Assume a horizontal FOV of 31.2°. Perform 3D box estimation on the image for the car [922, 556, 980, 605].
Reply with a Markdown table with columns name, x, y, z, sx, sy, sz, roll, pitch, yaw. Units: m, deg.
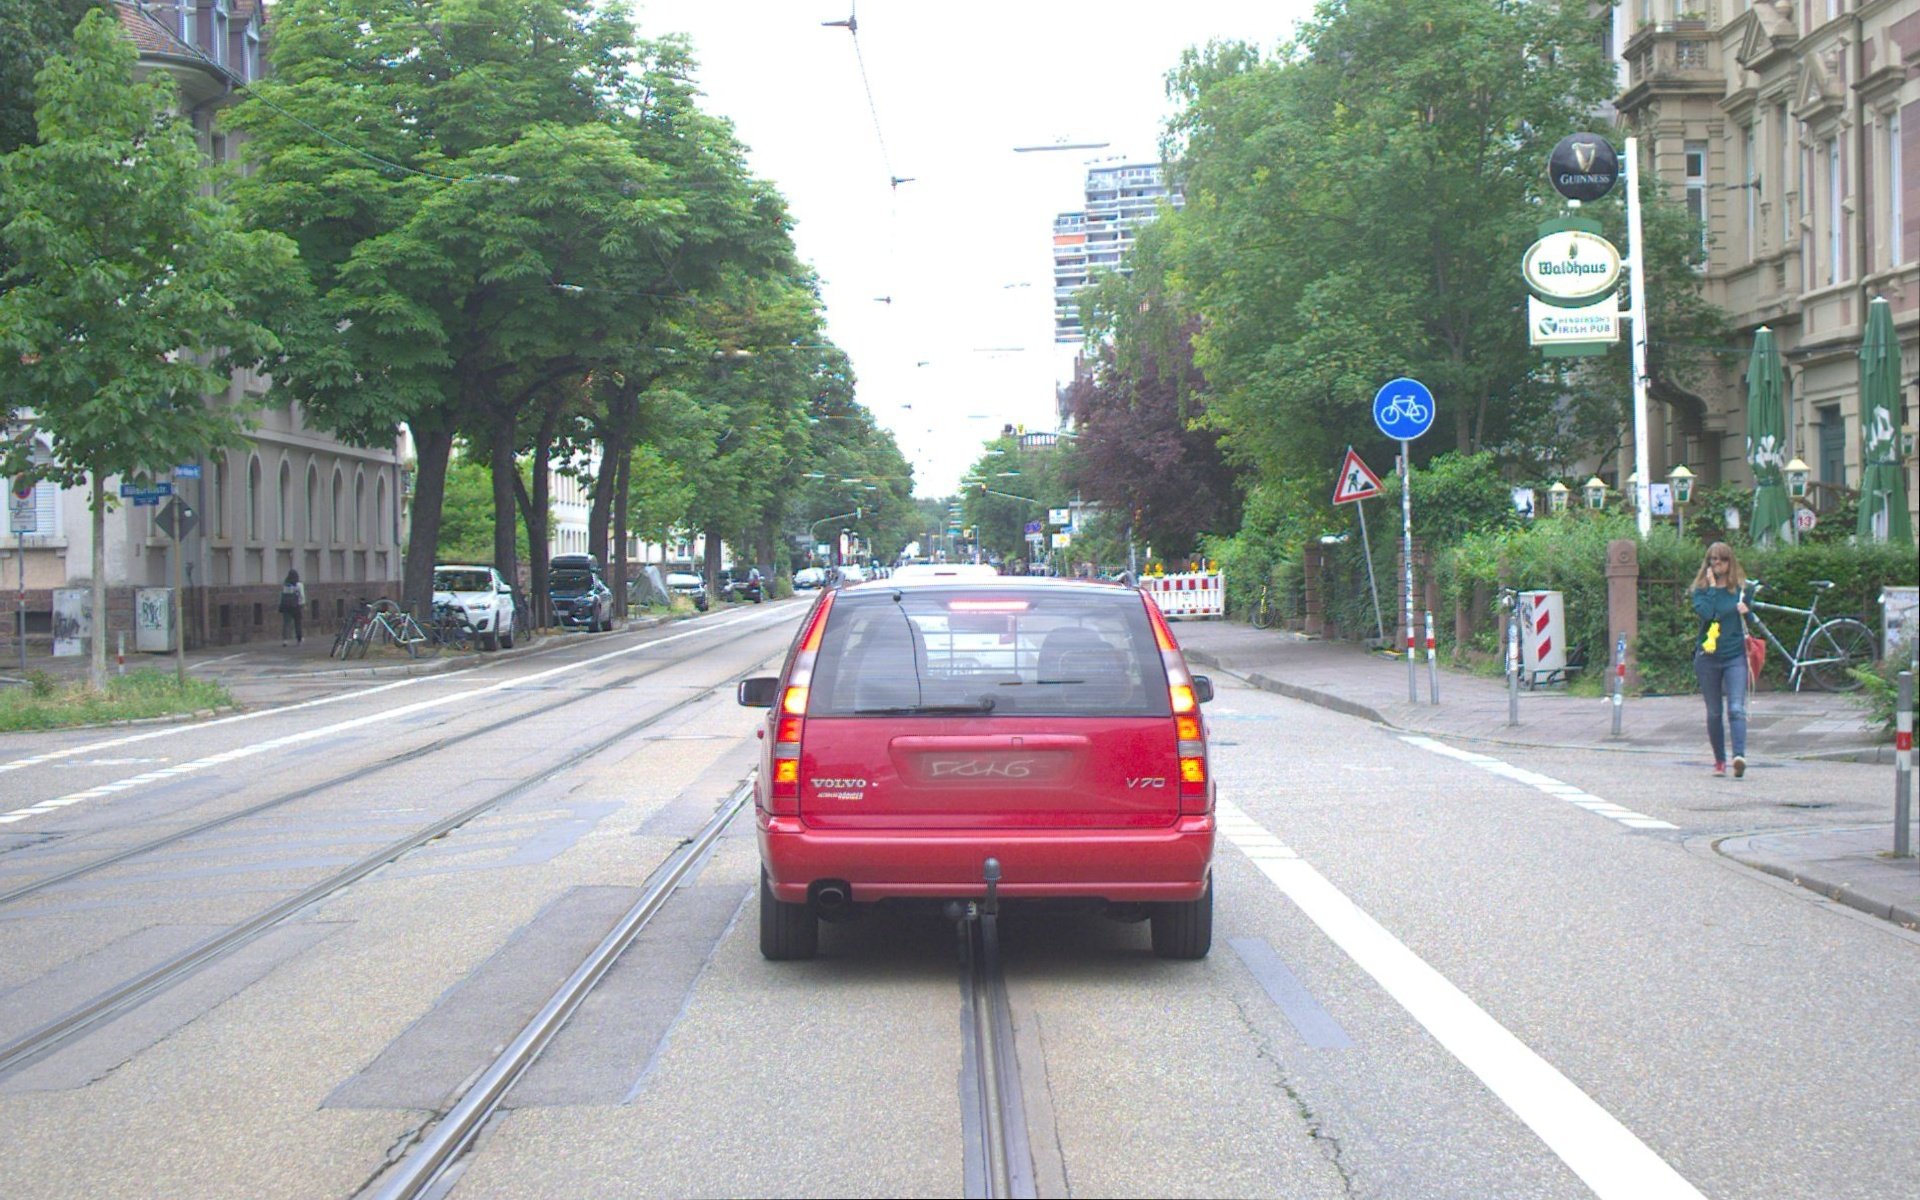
| name | x | y | z | sx | sy | sz | roll | pitch | yaw |
| --- | --- | --- | --- | --- | --- | --- | --- | --- | --- |
| car | -0.316 | -0.654 | 113.782 | 1.741 | 1.600 | 4.000 | -1 | 1 | -2 |

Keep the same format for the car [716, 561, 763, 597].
| name | x | y | z | sx | sy | sz | roll | pitch | yaw |
| --- | --- | --- | --- | --- | --- | --- | --- | --- | --- |
| car | -9.752 | -0.940 | 152.361 | 1.851 | 1.558 | 3.943 | -1 | 1 | 0 |

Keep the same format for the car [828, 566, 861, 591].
| name | x | y | z | sx | sy | sz | roll | pitch | yaw |
| --- | --- | --- | --- | --- | --- | --- | --- | --- | --- |
| car | -6.529 | -1.241 | 194.868 | 1.755 | 1.375 | 4.027 | -1 | 1 | -1 |

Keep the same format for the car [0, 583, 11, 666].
| name | x | y | z | sx | sy | sz | roll | pitch | yaw |
| --- | --- | --- | --- | --- | --- | --- | --- | --- | --- |
| car | -17.071 | 0.426 | 54.287 | 3.753 | 1.302 | 1.739 | -1 | 0 | 23 |

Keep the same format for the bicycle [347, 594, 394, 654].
| name | x | y | z | sx | sy | sz | roll | pitch | yaw |
| --- | --- | --- | --- | --- | --- | --- | --- | --- | --- |
| bicycle | -9.733 | 0.387 | 56.794 | 0.483 | 0.955 | 1.397 | -1 | 1 | 2 |

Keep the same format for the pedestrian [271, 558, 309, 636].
| name | x | y | z | sx | sy | sz | roll | pitch | yaw |
| --- | --- | --- | --- | --- | --- | --- | --- | --- | --- |
| pedestrian | -12.771 | -0.066 | 65.558 | 0.564 | 1.462 | 0.723 | -1 | 0 | 0 |

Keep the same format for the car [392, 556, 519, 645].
| name | x | y | z | sx | sy | sz | roll | pitch | yaw |
| --- | --- | --- | --- | --- | --- | --- | --- | --- | --- |
| car | -9.695 | -0.020 | 66.304 | 1.897 | 1.650 | 4.225 | 0 | 1 | -1 |

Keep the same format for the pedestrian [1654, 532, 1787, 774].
| name | x | y | z | sx | sy | sz | roll | pitch | yaw |
| --- | --- | --- | --- | --- | --- | --- | --- | --- | --- |
| pedestrian | 5.299 | 0.360 | 23.983 | 0.873 | 1.650 | 0.908 | -1 | 1 | 12 |

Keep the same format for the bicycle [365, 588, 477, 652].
| name | x | y | z | sx | sy | sz | roll | pitch | yaw |
| --- | --- | --- | --- | --- | --- | --- | --- | --- | --- |
| bicycle | -9.792 | 0.364 | 62.462 | 1.922 | 1.117 | 0.624 | 1 | 0 | 0 |

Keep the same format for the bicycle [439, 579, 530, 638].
| name | x | y | z | sx | sy | sz | roll | pitch | yaw |
| --- | --- | --- | --- | --- | --- | --- | --- | --- | --- |
| bicycle | -9.915 | 0.174 | 71.656 | 1.744 | 1.188 | 0.652 | 1 | 1 | 14 |

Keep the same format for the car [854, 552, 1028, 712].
| name | x | y | z | sx | sy | sz | roll | pitch | yaw |
| --- | --- | --- | --- | --- | --- | --- | --- | --- | --- |
| car | -0.156 | 0.312 | 37.143 | 1.719 | 1.619 | 3.941 | -1 | 1 | 2 |

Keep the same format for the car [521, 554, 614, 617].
| name | x | y | z | sx | sy | sz | roll | pitch | yaw |
| --- | --- | --- | --- | --- | --- | --- | --- | --- | --- |
| car | -9.686 | -0.379 | 85.118 | 1.777 | 1.505 | 4.237 | 0 | 1 | 1 |

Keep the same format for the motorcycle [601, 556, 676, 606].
| name | x | y | z | sx | sy | sz | roll | pitch | yaw |
| --- | --- | --- | --- | --- | --- | --- | --- | --- | --- |
| motorcycle | -10.047 | -0.582 | 107.382 | 2.269 | 1.506 | 0.925 | -1 | -1 | 35 |

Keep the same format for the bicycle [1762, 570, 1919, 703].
| name | x | y | z | sx | sy | sz | roll | pitch | yaw |
| --- | --- | --- | --- | --- | --- | --- | --- | --- | --- |
| bicycle | 8.663 | 0.355 | 33.555 | 1.605 | 1.273 | 0.513 | -1 | 1 | 11 |

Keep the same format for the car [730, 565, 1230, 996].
| name | x | y | z | sx | sy | sz | roll | pitch | yaw |
| --- | --- | --- | --- | --- | --- | --- | --- | --- | --- |
| car | 0.057 | 0.594 | 13.522 | 1.689 | 1.436 | 3.743 | 0 | 1 | 0 |

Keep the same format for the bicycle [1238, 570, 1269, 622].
| name | x | y | z | sx | sy | sz | roll | pitch | yaw |
| --- | --- | --- | --- | --- | --- | --- | --- | --- | --- |
| bicycle | 5.977 | -0.086 | 70.072 | 0.479 | 1.041 | 1.531 | -1 | 0 | 0 |

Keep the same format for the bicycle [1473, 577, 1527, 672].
| name | x | y | z | sx | sy | sz | roll | pitch | yaw |
| --- | --- | --- | --- | --- | --- | --- | --- | --- | --- |
| bicycle | 6.167 | 0.265 | 39.303 | 0.301 | 1.038 | 1.848 | -1 | 1 | 0 |
